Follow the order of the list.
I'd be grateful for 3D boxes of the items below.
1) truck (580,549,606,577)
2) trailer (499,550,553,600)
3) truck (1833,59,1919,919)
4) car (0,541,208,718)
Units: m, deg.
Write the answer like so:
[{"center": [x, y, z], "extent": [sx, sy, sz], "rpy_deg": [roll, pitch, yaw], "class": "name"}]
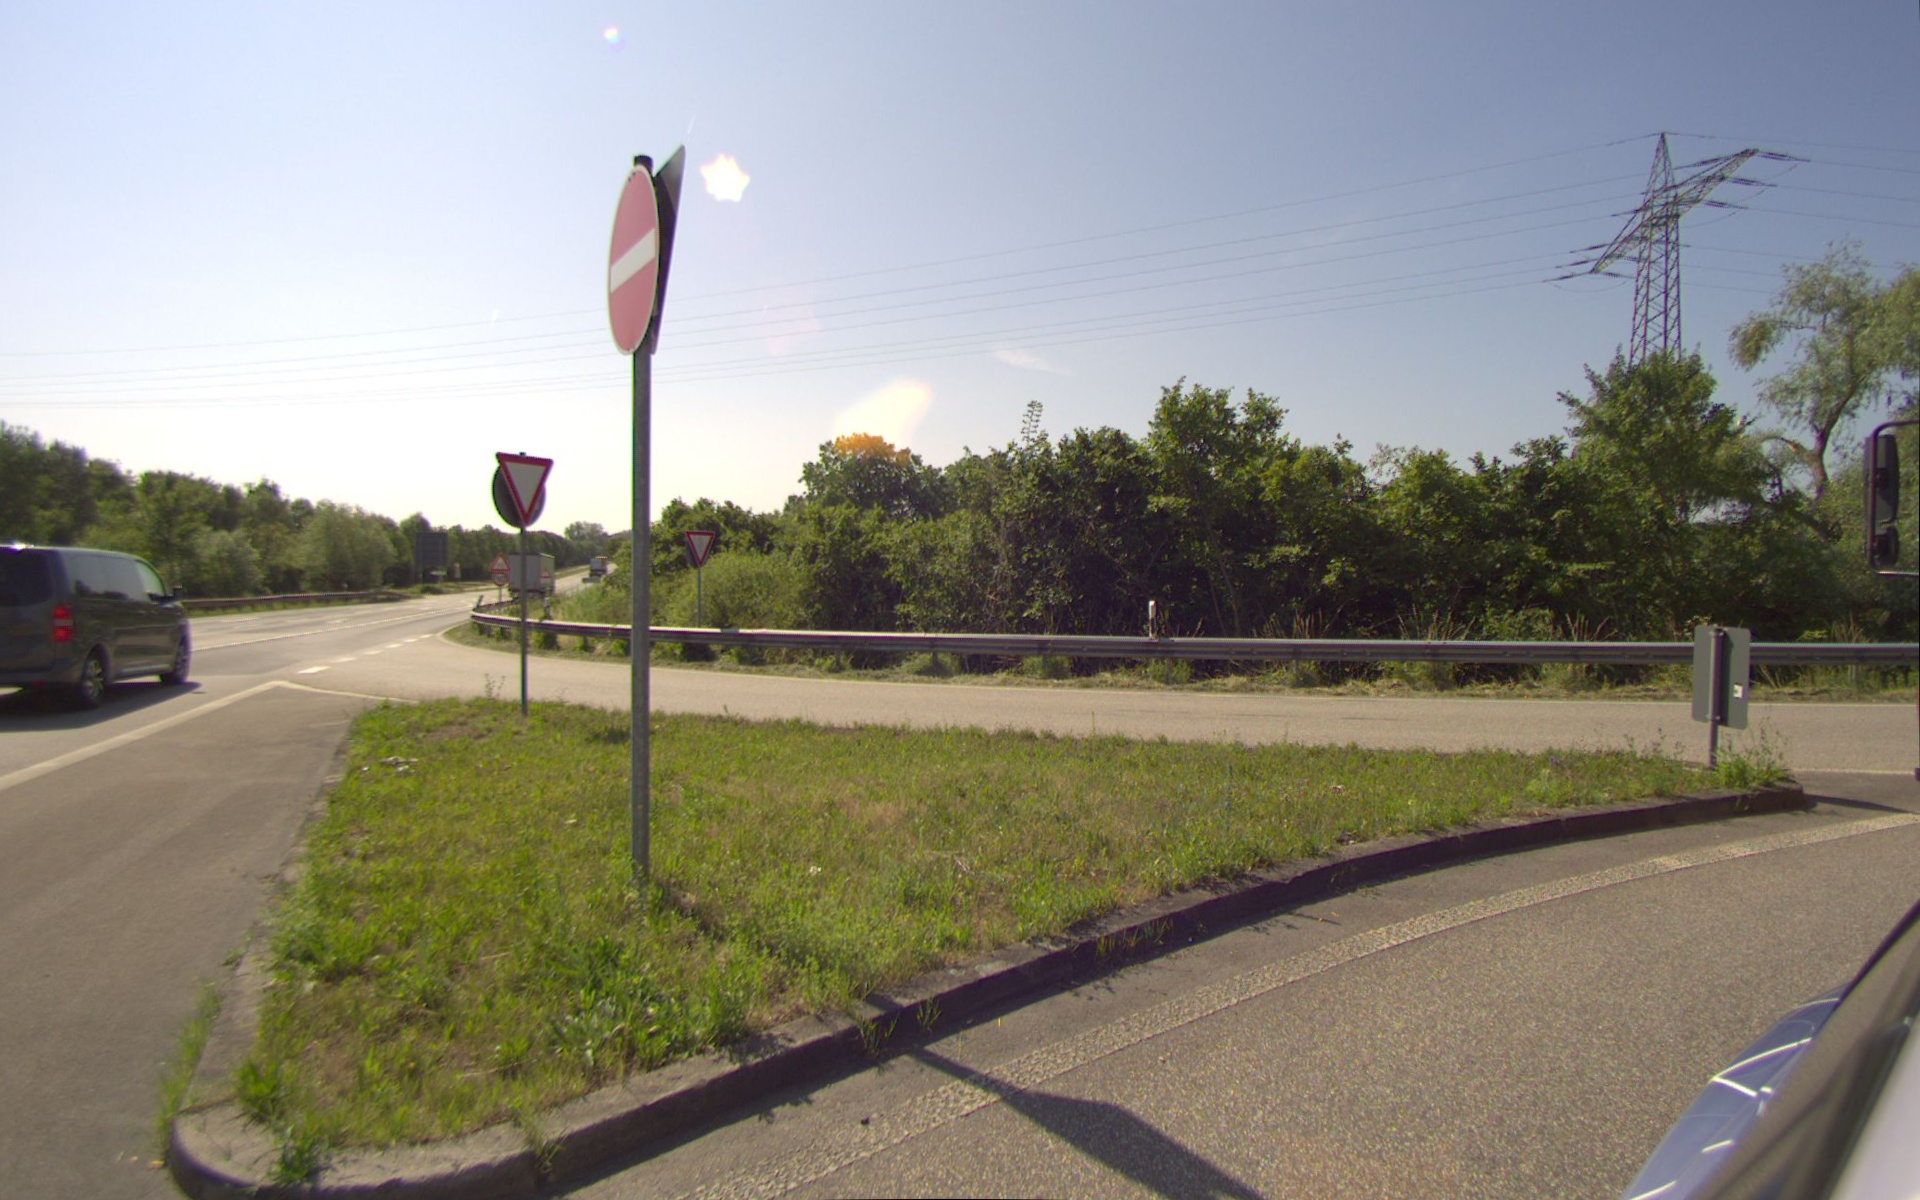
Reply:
[{"center": [-78.927, -7.862, 217.920], "extent": [4.051, 5.524, 13.635], "rpy_deg": [0, 1, -15], "class": "truck"}, {"center": [-38.342, -2.243, 89.828], "extent": [2.868, 4.060, 13.447], "rpy_deg": [1, 1, -17], "class": "trailer"}, {"center": [8.687, -0.470, 5.303], "extent": [9.070, 3.707, 2.696], "rpy_deg": [0, 0, -25], "class": "truck"}, {"center": [-11.616, 0.283, 13.042], "extent": [1.958, 1.903, 5.003], "rpy_deg": [0, 1, -23], "class": "car"}]
